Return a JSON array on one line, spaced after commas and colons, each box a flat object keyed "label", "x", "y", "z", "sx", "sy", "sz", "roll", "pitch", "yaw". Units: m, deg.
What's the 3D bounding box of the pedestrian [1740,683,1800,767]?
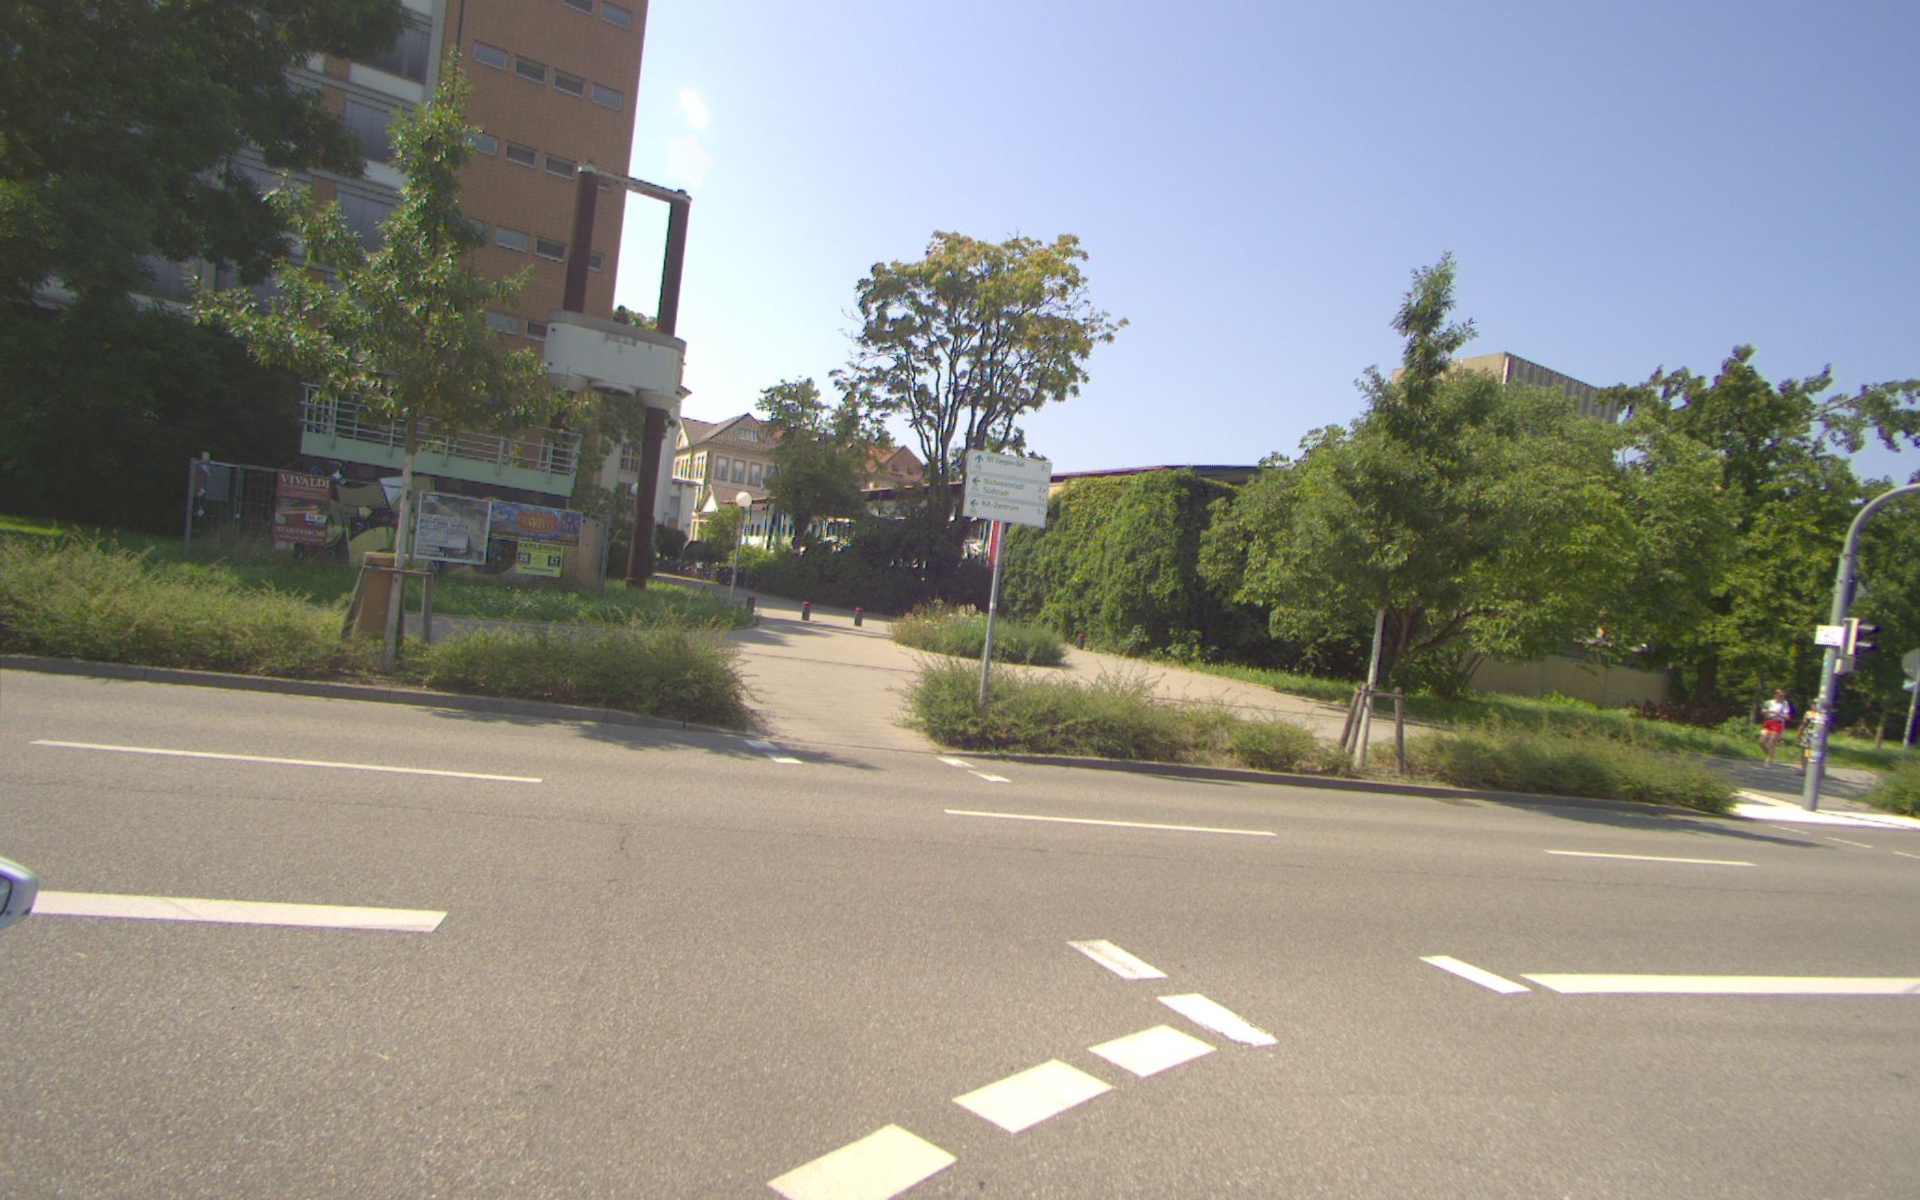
[{"label": "pedestrian", "x": 18.576, "y": 2.856, "z": 23.078, "sx": 0.580, "sy": 1.794, "sz": 0.690, "roll": 6, "pitch": 2, "yaw": -23}]

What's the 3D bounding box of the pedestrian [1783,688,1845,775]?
[{"label": "pedestrian", "x": 19.009, "y": 2.924, "z": 22.402, "sx": 0.580, "sy": 1.794, "sz": 0.690, "roll": 6, "pitch": 2, "yaw": -23}]
